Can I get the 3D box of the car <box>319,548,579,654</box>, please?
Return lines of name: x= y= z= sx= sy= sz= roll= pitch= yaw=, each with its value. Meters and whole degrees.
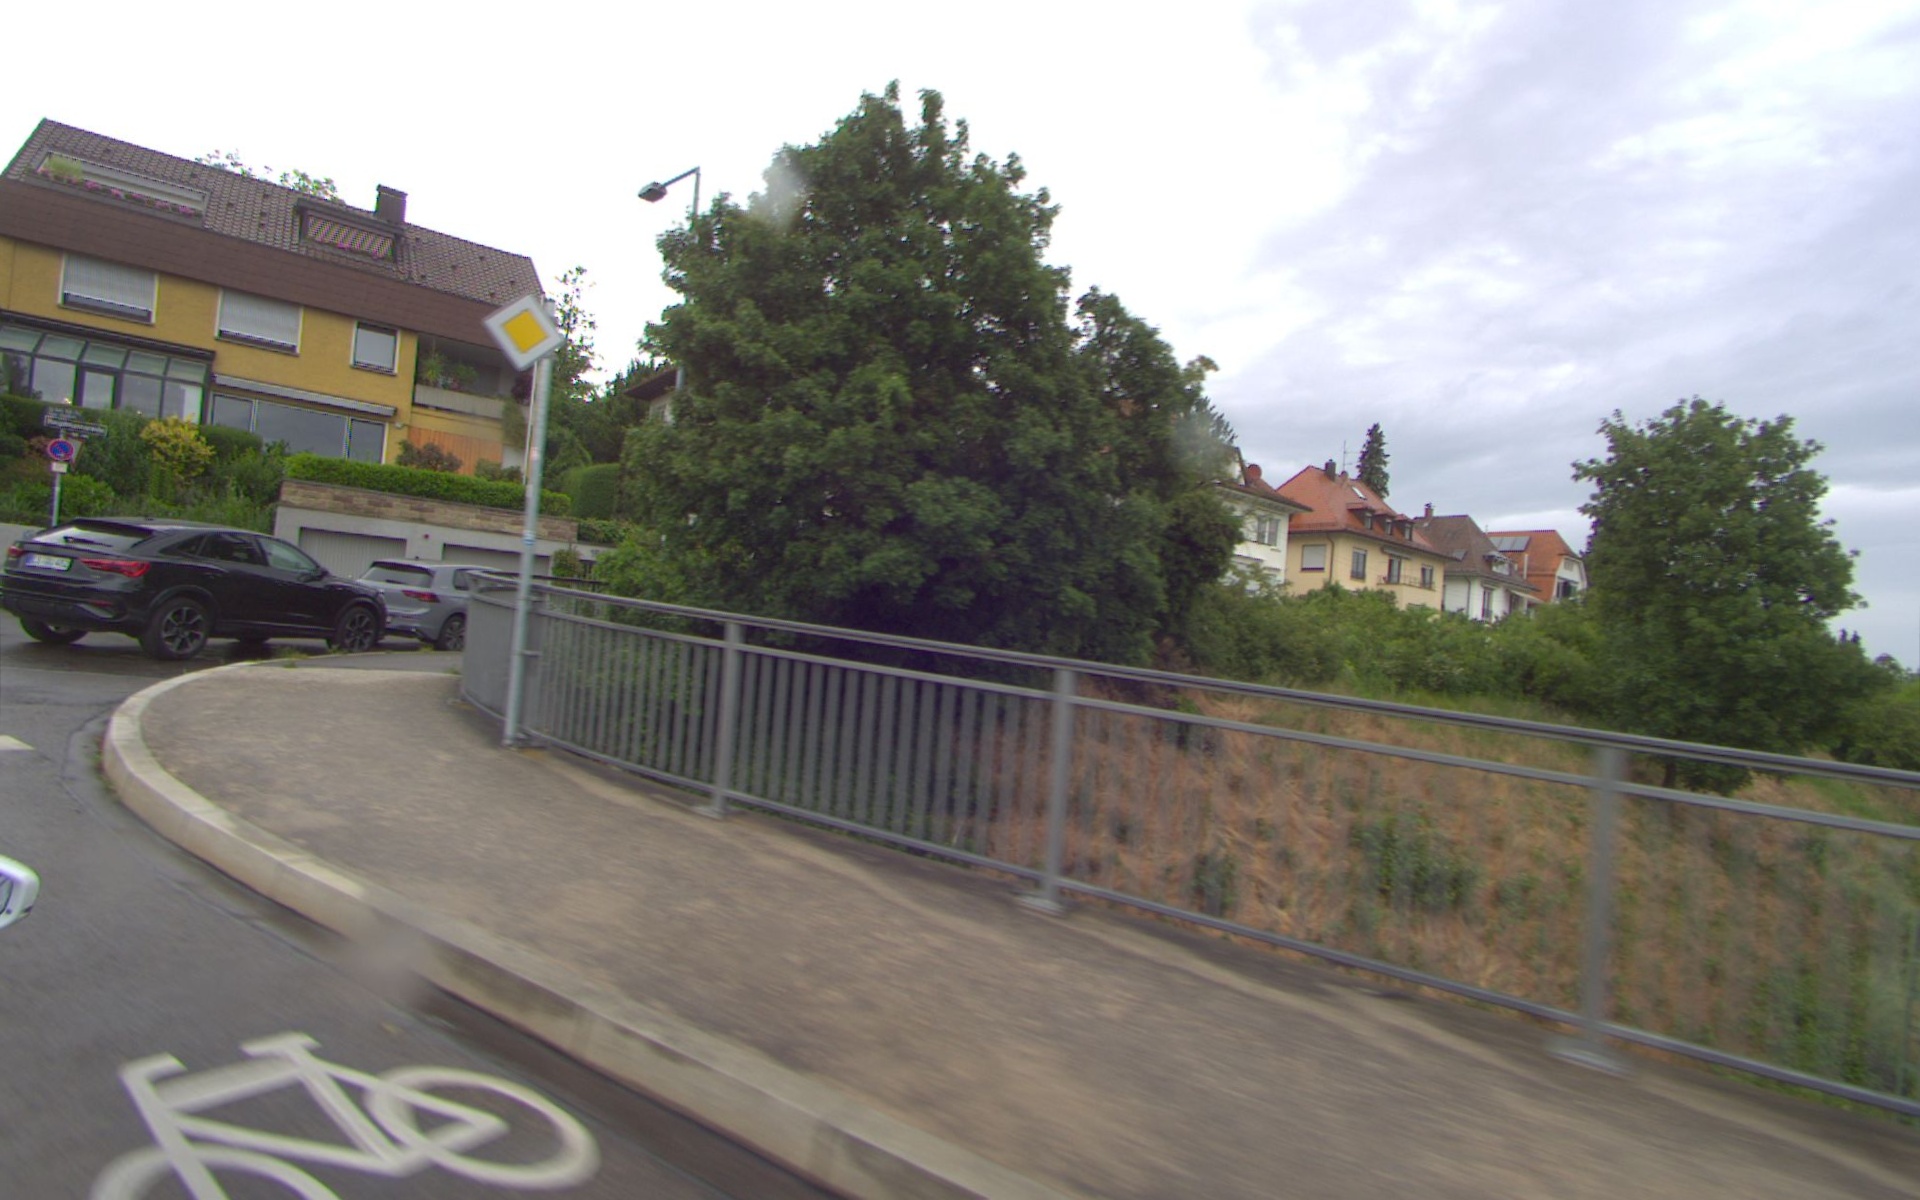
car: x=-8.578 y=0.100 z=17.339 sx=1.766 sy=1.442 sz=4.060 roll=6 pitch=-2 yaw=11

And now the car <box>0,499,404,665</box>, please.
car: x=-9.383 y=-0.135 z=12.570 sx=1.962 sy=1.541 sz=4.206 roll=8 pitch=-1 yaw=9
